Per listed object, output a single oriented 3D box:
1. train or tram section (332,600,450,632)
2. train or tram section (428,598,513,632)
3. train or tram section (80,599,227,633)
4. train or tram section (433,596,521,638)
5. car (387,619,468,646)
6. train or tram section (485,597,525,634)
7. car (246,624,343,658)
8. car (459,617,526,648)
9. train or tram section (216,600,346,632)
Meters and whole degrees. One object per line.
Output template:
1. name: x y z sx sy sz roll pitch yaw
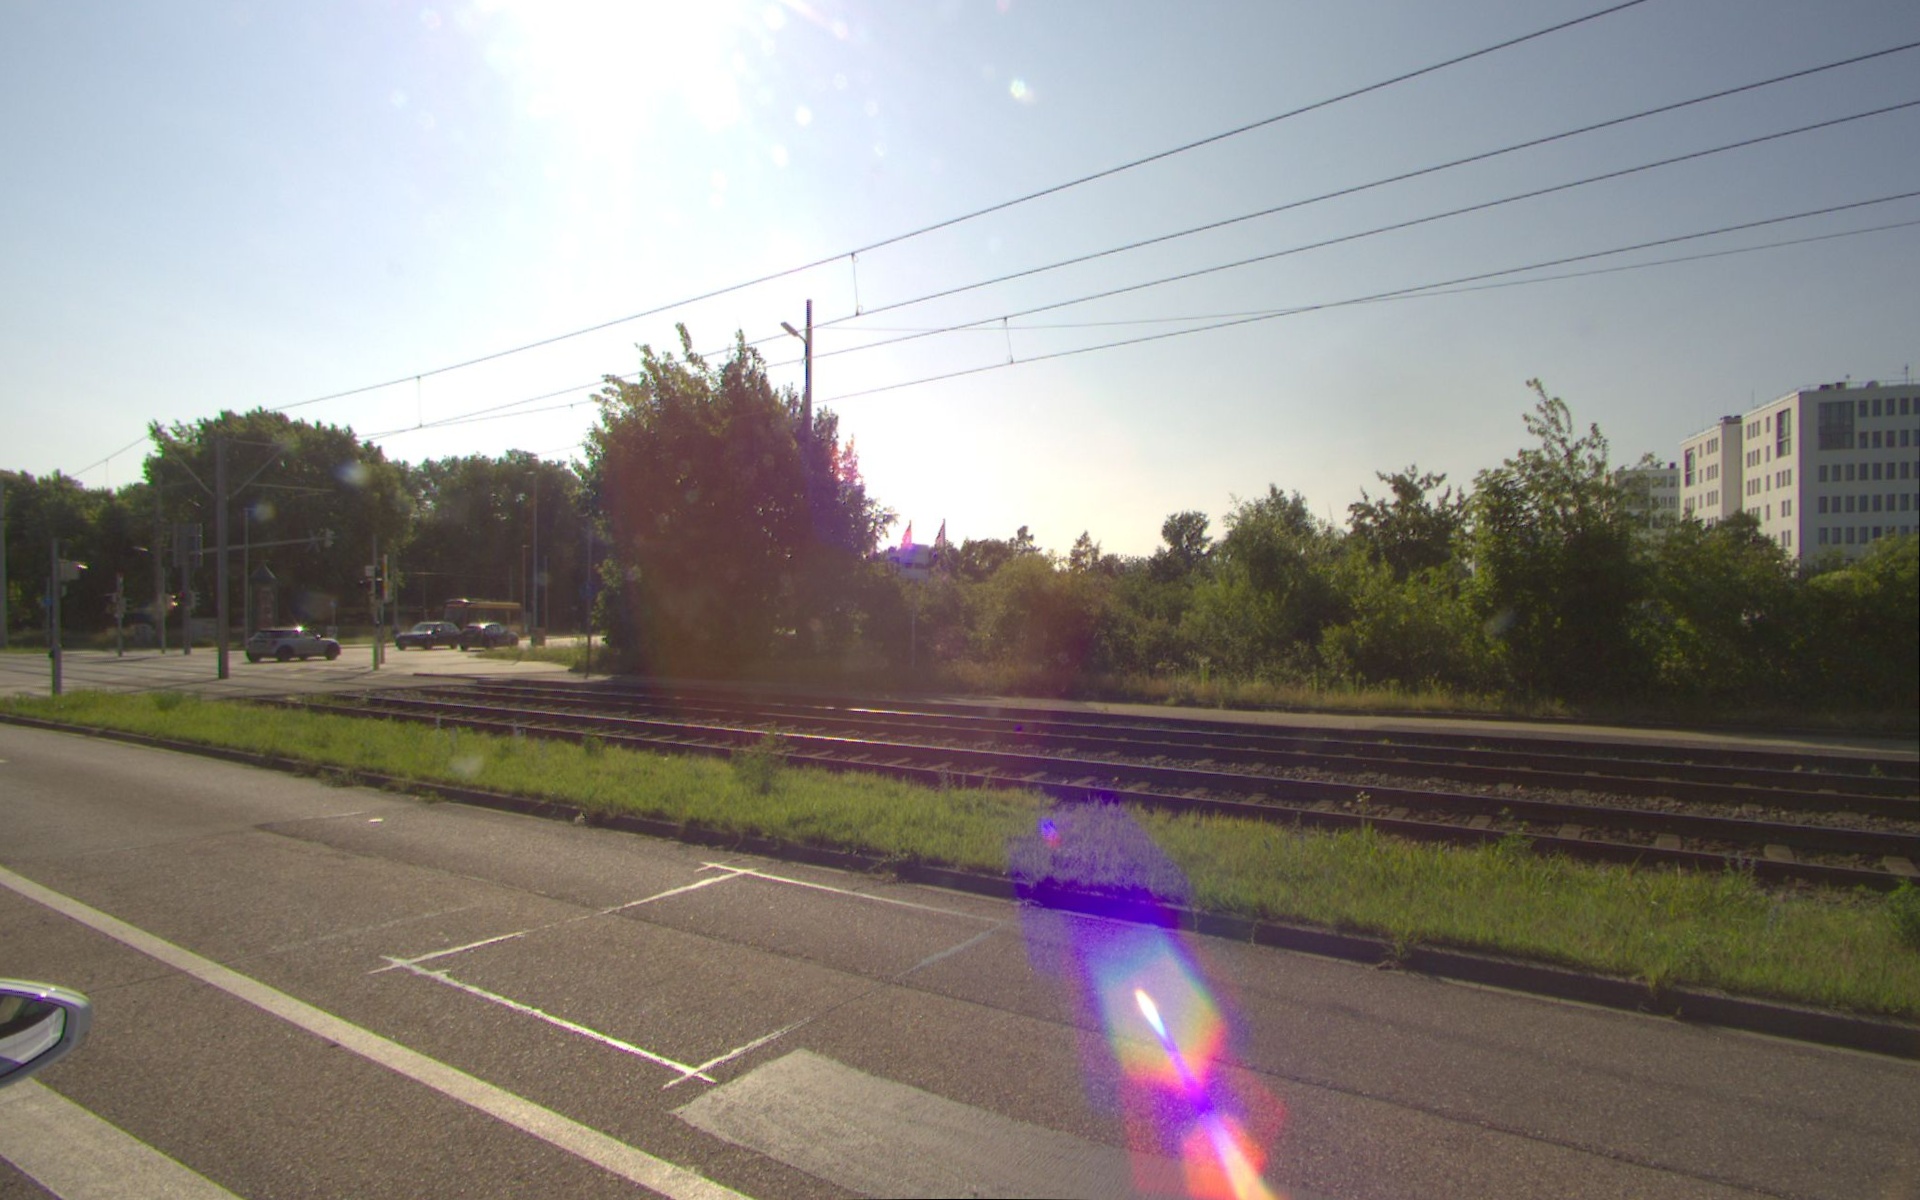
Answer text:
1. train or tram section: -66.491 1.872 117.228 11.992 3.626 3.054 0 -1 -1
2. train or tram section: -55.548 1.734 113.448 12.061 3.626 3.037 -1 -1 34
3. train or tram section: -88.969 1.746 110.815 12.249 3.626 3.041 0 -1 -27
4. train or tram section: -44.643 1.560 93.141 2.995 3.626 11.853 0 -1 -3
5. car: -31.888 1.920 60.129 2.005 1.583 4.863 0 -1 5
6. train or tram section: -47.642 1.617 104.615 3.009 3.626 12.174 0 -1 -28
7. car: -29.086 1.786 43.901 1.576 1.401 3.529 0 -1 9
8. car: -28.232 1.937 60.593 1.617 1.745 4.622 1 0 4
9. train or tram section: -78.205 1.848 115.628 12.027 3.626 3.045 0 -1 -22
